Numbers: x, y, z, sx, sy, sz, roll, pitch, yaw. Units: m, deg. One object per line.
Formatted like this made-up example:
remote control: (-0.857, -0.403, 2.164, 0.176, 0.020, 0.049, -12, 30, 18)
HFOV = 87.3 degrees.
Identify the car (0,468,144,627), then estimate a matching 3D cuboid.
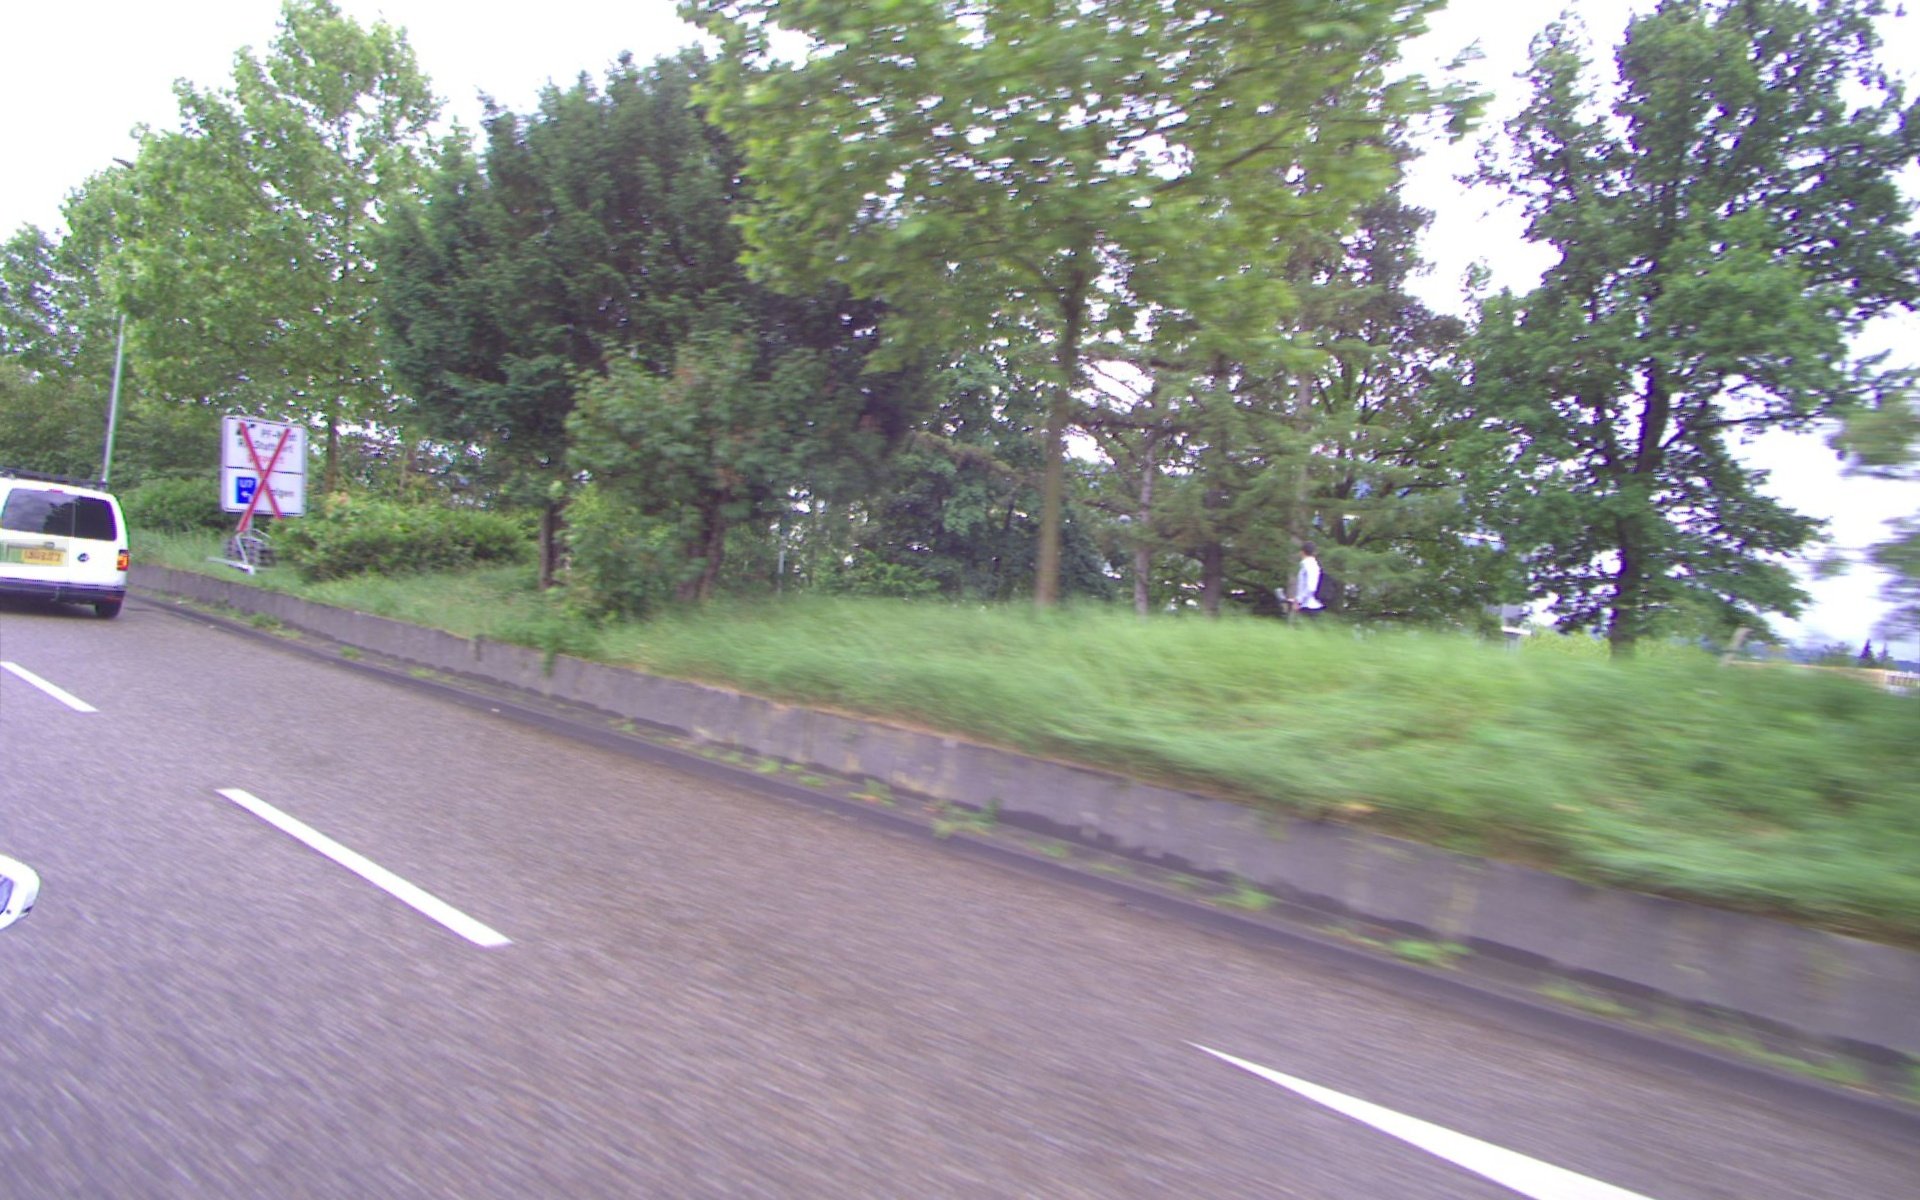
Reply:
car: (-13.594, -0.878, 14.580, 3.746, 1.900, 1.765, 9, 1, 37)
